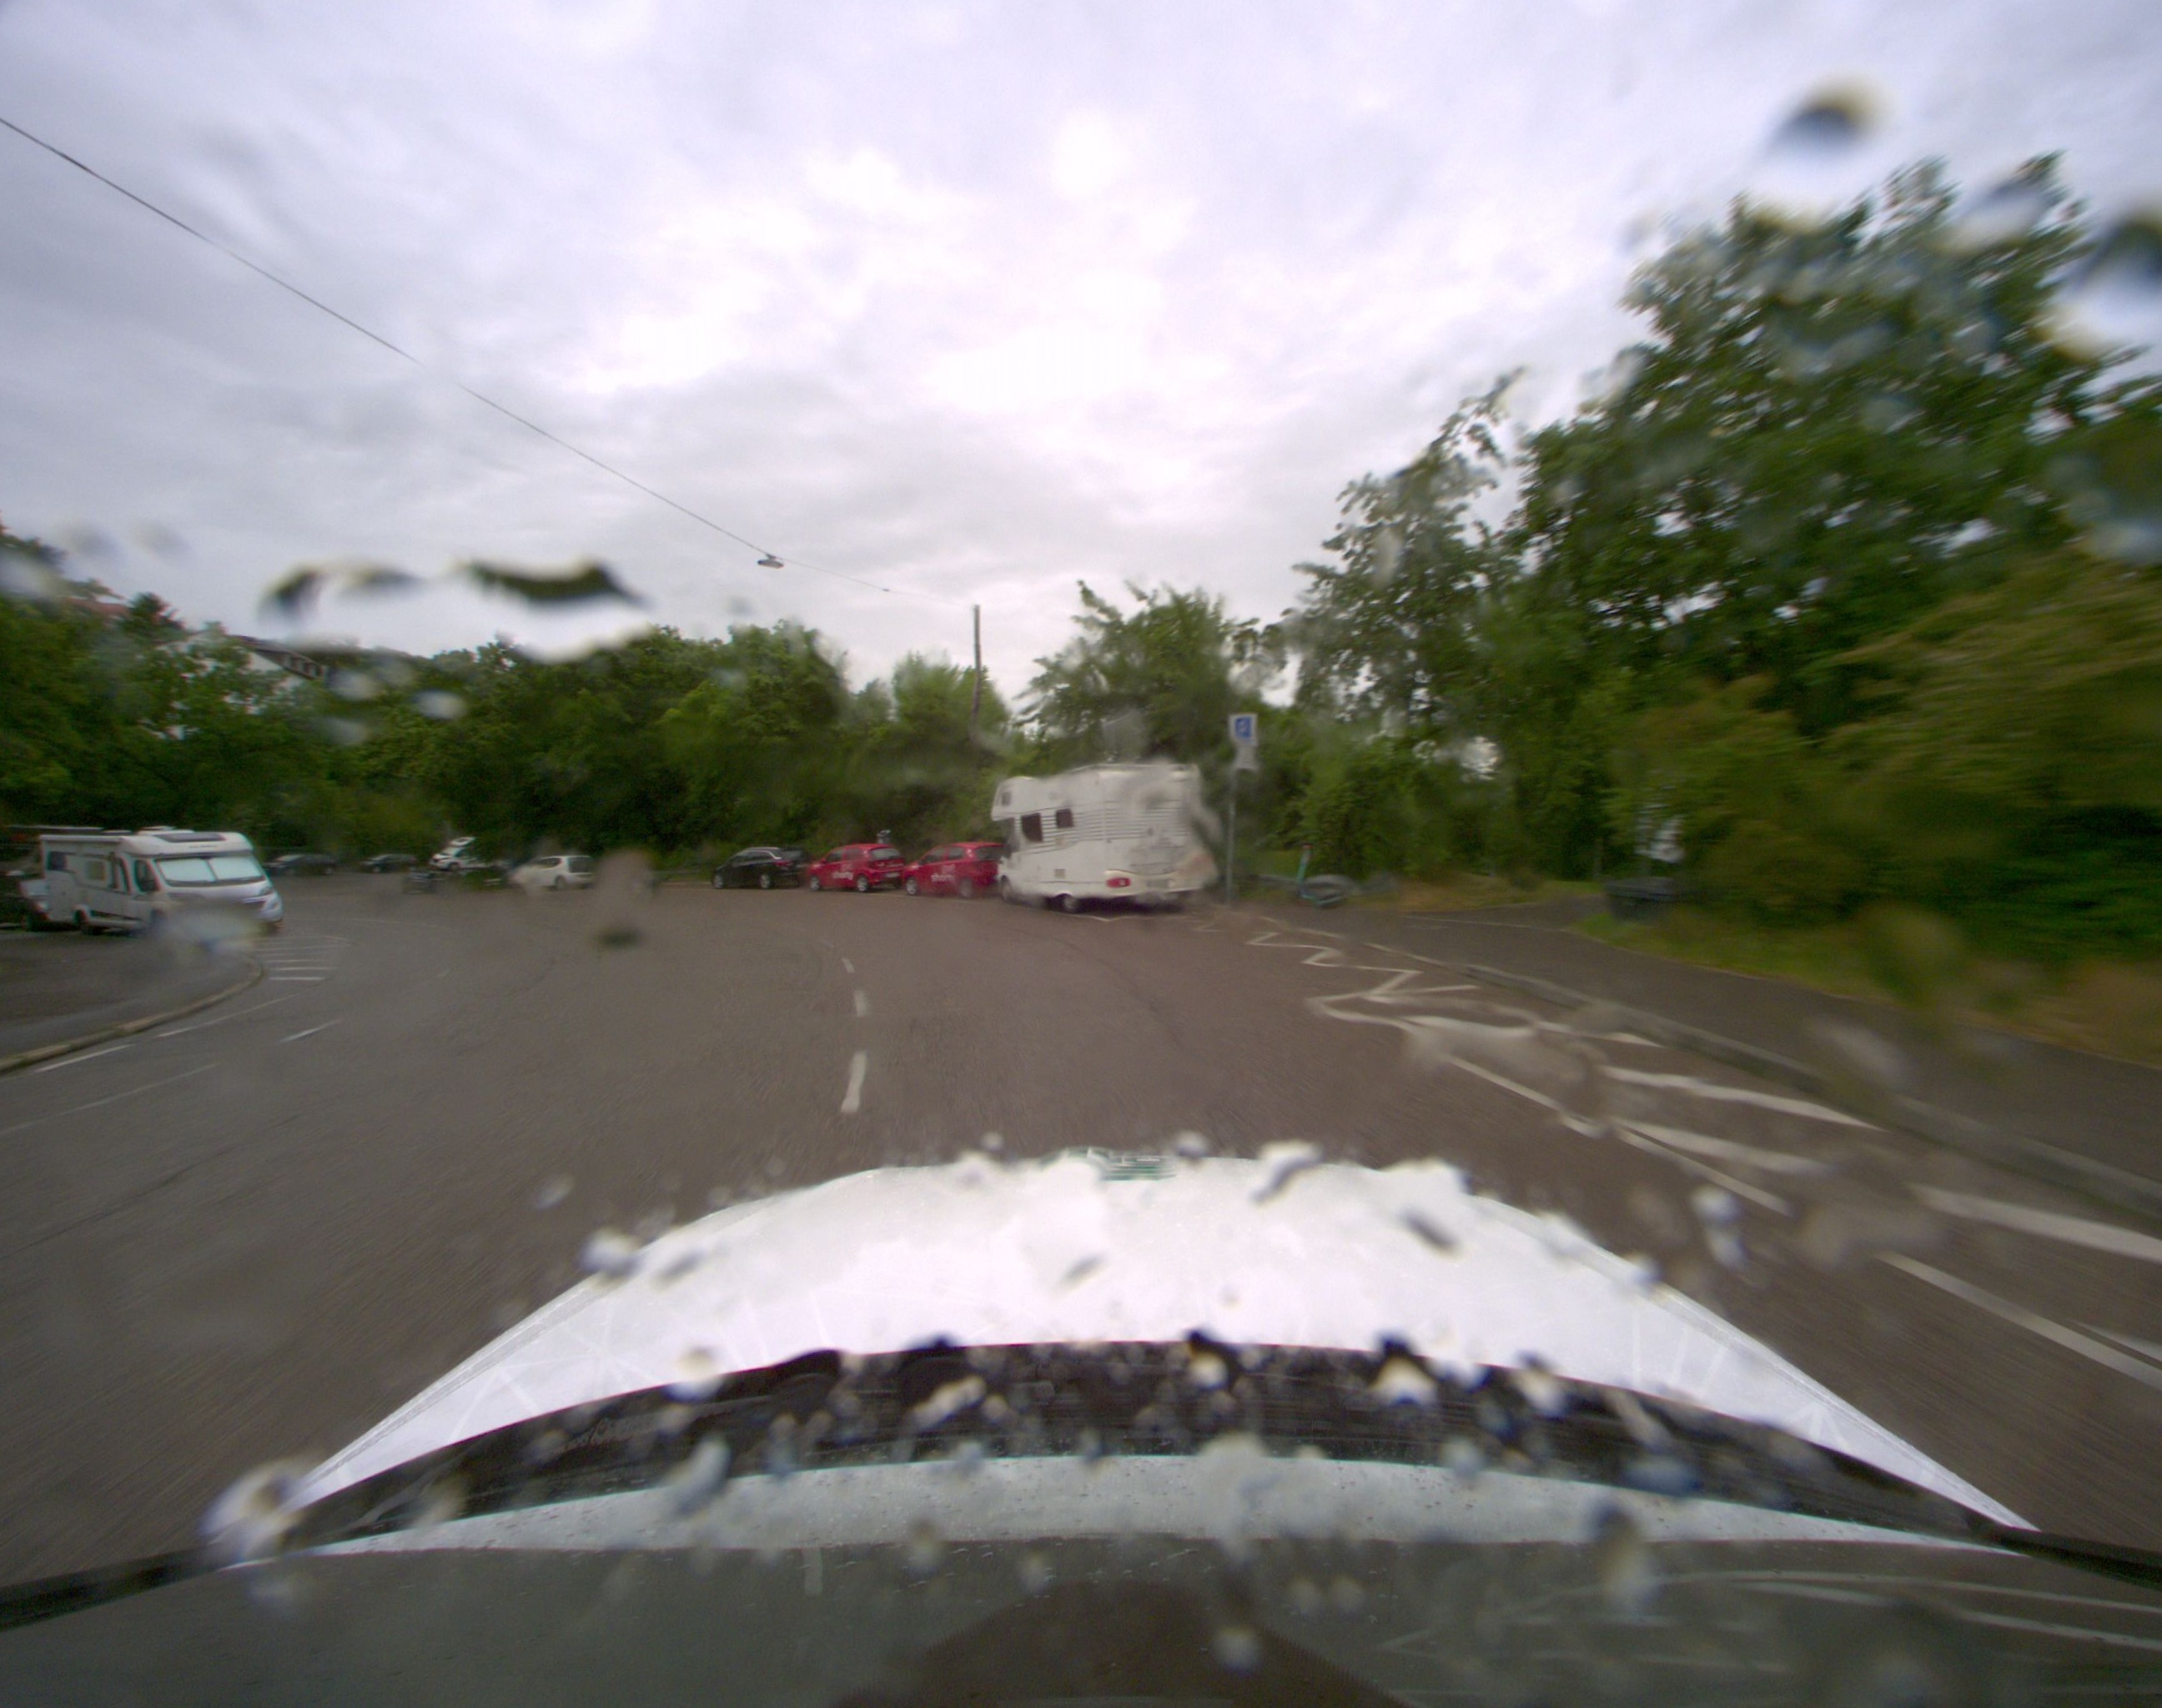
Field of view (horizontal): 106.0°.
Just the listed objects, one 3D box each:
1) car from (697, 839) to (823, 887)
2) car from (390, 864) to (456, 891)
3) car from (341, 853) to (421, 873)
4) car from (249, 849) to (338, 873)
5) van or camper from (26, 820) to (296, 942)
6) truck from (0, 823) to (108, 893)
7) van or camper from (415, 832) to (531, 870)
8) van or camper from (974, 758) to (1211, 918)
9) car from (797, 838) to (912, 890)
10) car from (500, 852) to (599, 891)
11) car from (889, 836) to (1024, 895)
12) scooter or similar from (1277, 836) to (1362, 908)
[{"bbox_3d":[-11.533,0.306,29.184,4.536,1.513,1.735,-1,3,32],"label":"car"},{"bbox_3d":[-40.449,1.432,50.185,1.653,1.465,4.010,4,-2,-17],"label":"car"},{"bbox_3d":[-53.655,0.703,62.553,1.740,1.356,4.332,5,1,17],"label":"car"},{"bbox_3d":[-54.704,0.473,56.697,1.771,1.465,4.315,4,1,2],"label":"car"},{"bbox_3d":[-23.941,0.598,21.172,6.966,2.787,2.175,0,4,21],"label":"van or camper"},{"bbox_3d":[-49.554,0.158,38.800,2.046,3.103,6.547,2,-1,-32],"label":"truck"},{"bbox_3d":[-51.516,-0.267,69.283,2.175,2.931,7.707,5,3,26],"label":"van or camper"},{"bbox_3d":[-0.032,-0.404,18.366,2.405,2.943,6.221,-4,3,-30],"label":"van or camper"},{"bbox_3d":[-7.357,0.277,26.337,3.628,1.513,1.574,0,4,35],"label":"car"},{"bbox_3d":[-22.720,0.737,34.836,3.624,1.501,1.598,-2,0,20],"label":"car"},{"bbox_3d":[-3.571,0.302,23.082,3.758,1.460,1.657,0,4,40],"label":"car"},{"bbox_3d":[4.493,0.317,15.425,0.453,1.282,1.693,-1,0,-29],"label":"scooter or similar"}]
